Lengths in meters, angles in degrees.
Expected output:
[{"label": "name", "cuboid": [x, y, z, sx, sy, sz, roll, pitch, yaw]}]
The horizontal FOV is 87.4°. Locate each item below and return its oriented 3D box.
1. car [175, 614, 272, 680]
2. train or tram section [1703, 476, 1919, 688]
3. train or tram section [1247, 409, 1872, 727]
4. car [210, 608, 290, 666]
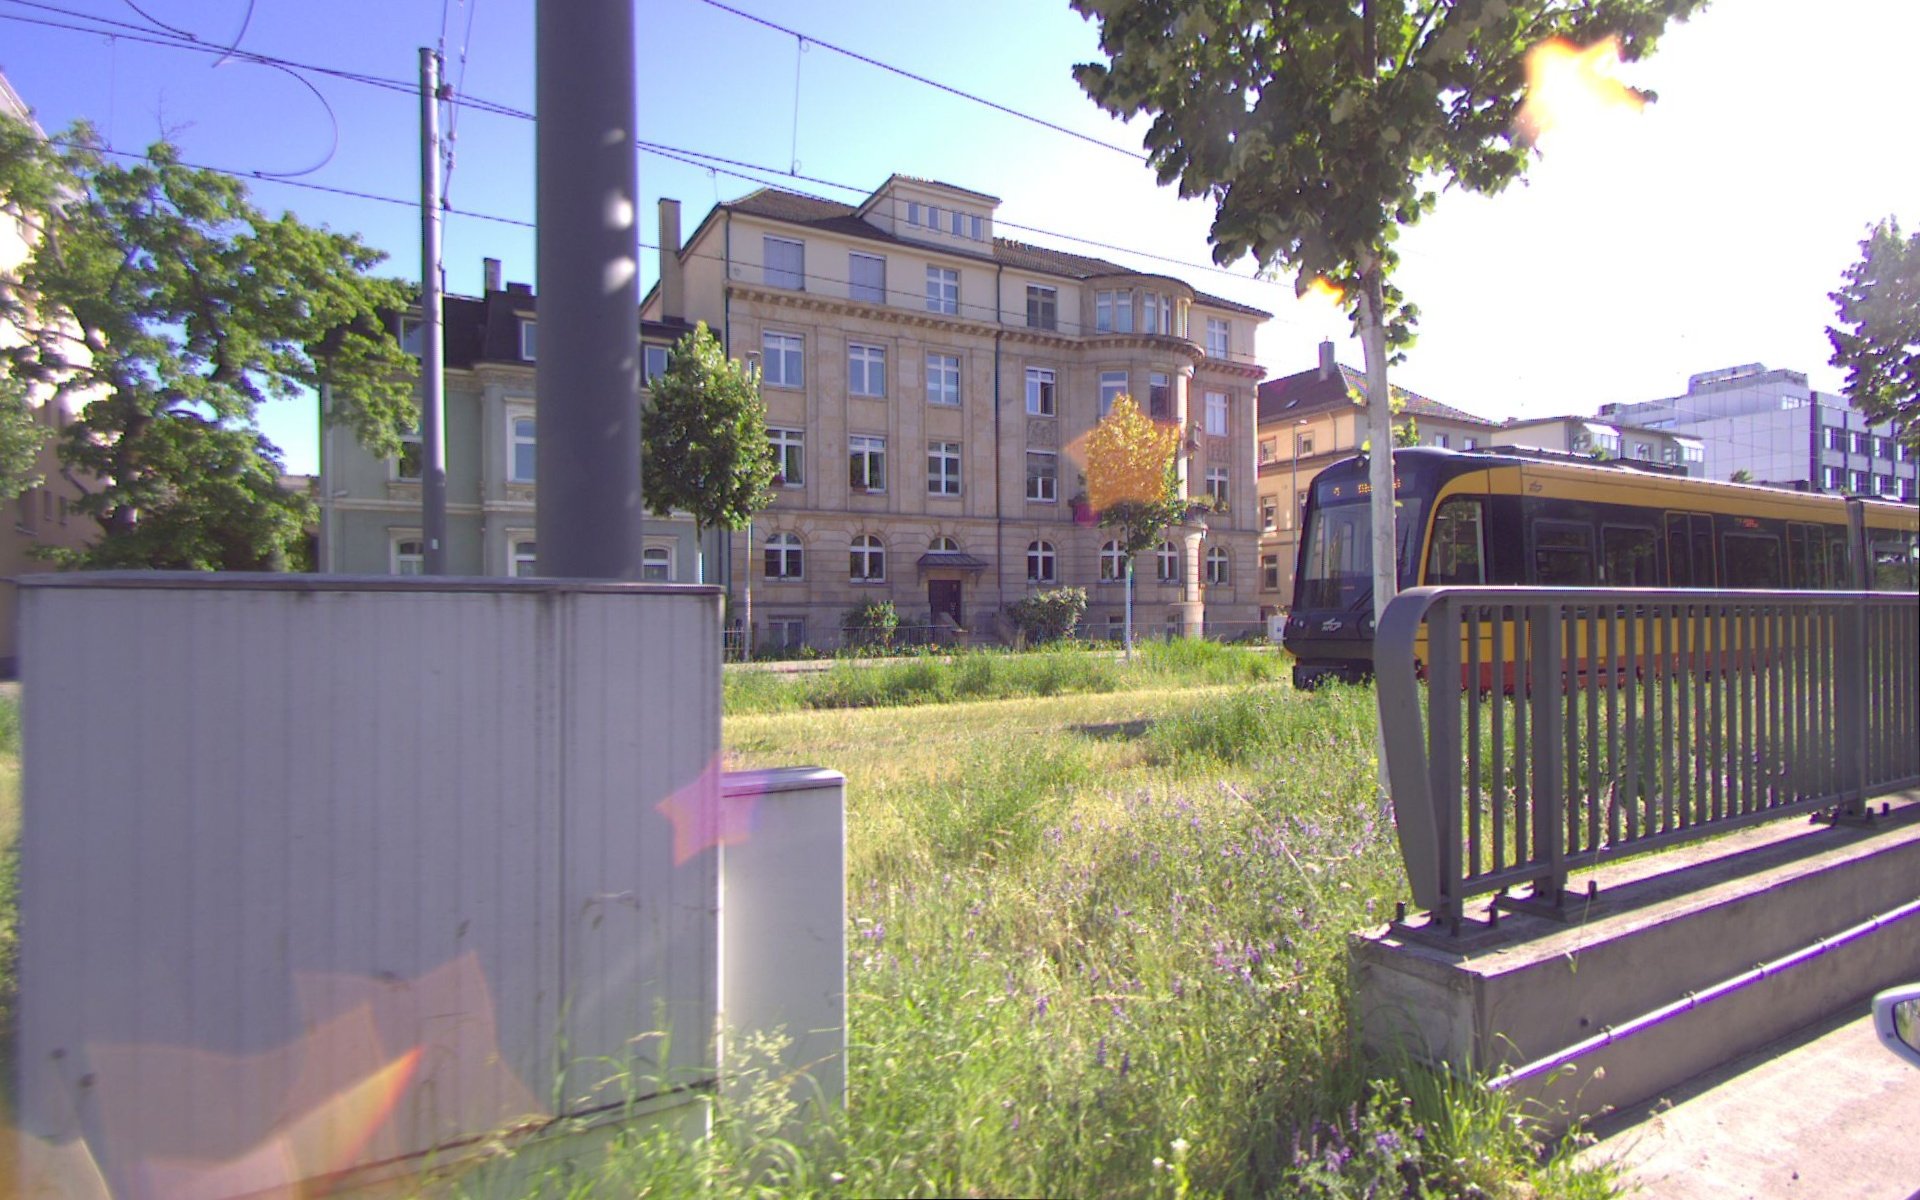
[{"label": "car", "cuboid": [-21.114, 1.274, 28.929, 1.894, 1.750, 3.966, 0, -1, -31]}, {"label": "train or tram section", "cuboid": [21.476, -0.265, 22.809, 12.939, 3.872, 2.597, 1, 1, -31]}, {"label": "train or tram section", "cuboid": [10.335, -0.309, 16.172, 13.185, 3.705, 2.598, 1, 1, -30]}, {"label": "car", "cuboid": [-23.565, 1.182, 33.463, 1.894, 1.816, 3.966, 0, -1, -31]}]
